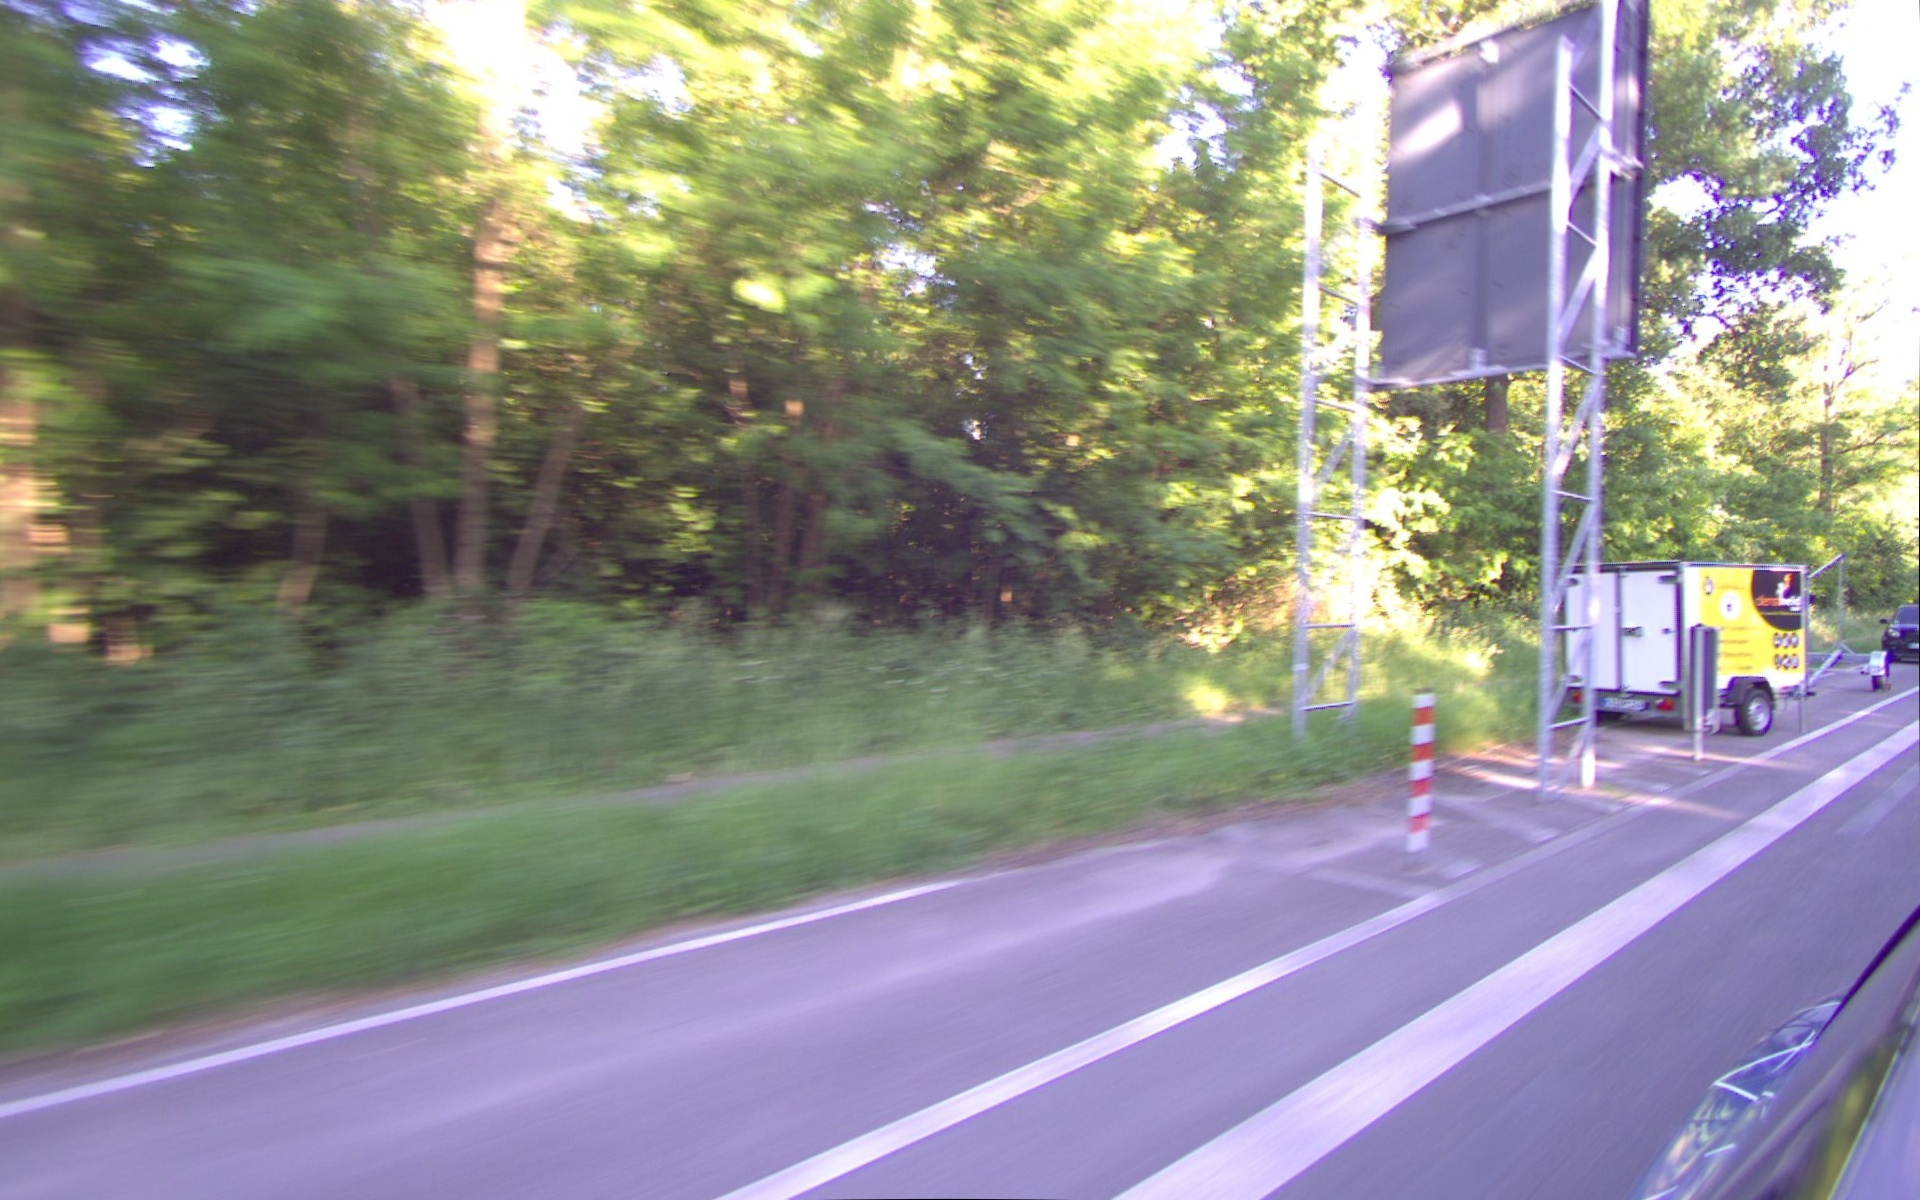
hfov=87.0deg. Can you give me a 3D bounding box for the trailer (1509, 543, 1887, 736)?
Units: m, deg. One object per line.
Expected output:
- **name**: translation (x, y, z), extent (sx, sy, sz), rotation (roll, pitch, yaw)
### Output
- **trailer**: translation (8.959, 0.418, 12.355), extent (3.763, 2.048, 1.973), rotation (1, 1, -21)

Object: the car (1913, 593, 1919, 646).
- **car**: translation (29.343, 0.551, 29.647), extent (4.325, 1.507, 1.737), rotation (0, -1, -42)

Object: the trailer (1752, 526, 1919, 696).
- **trailer**: translation (14.795, 0.135, 17.030), extent (3.930, 2.540, 1.616), rotation (-1, 0, -41)

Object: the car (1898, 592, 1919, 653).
- **car**: translation (25.692, 0.570, 26.319), extent (2.958, 1.550, 1.589), rotation (0, 0, -41)
